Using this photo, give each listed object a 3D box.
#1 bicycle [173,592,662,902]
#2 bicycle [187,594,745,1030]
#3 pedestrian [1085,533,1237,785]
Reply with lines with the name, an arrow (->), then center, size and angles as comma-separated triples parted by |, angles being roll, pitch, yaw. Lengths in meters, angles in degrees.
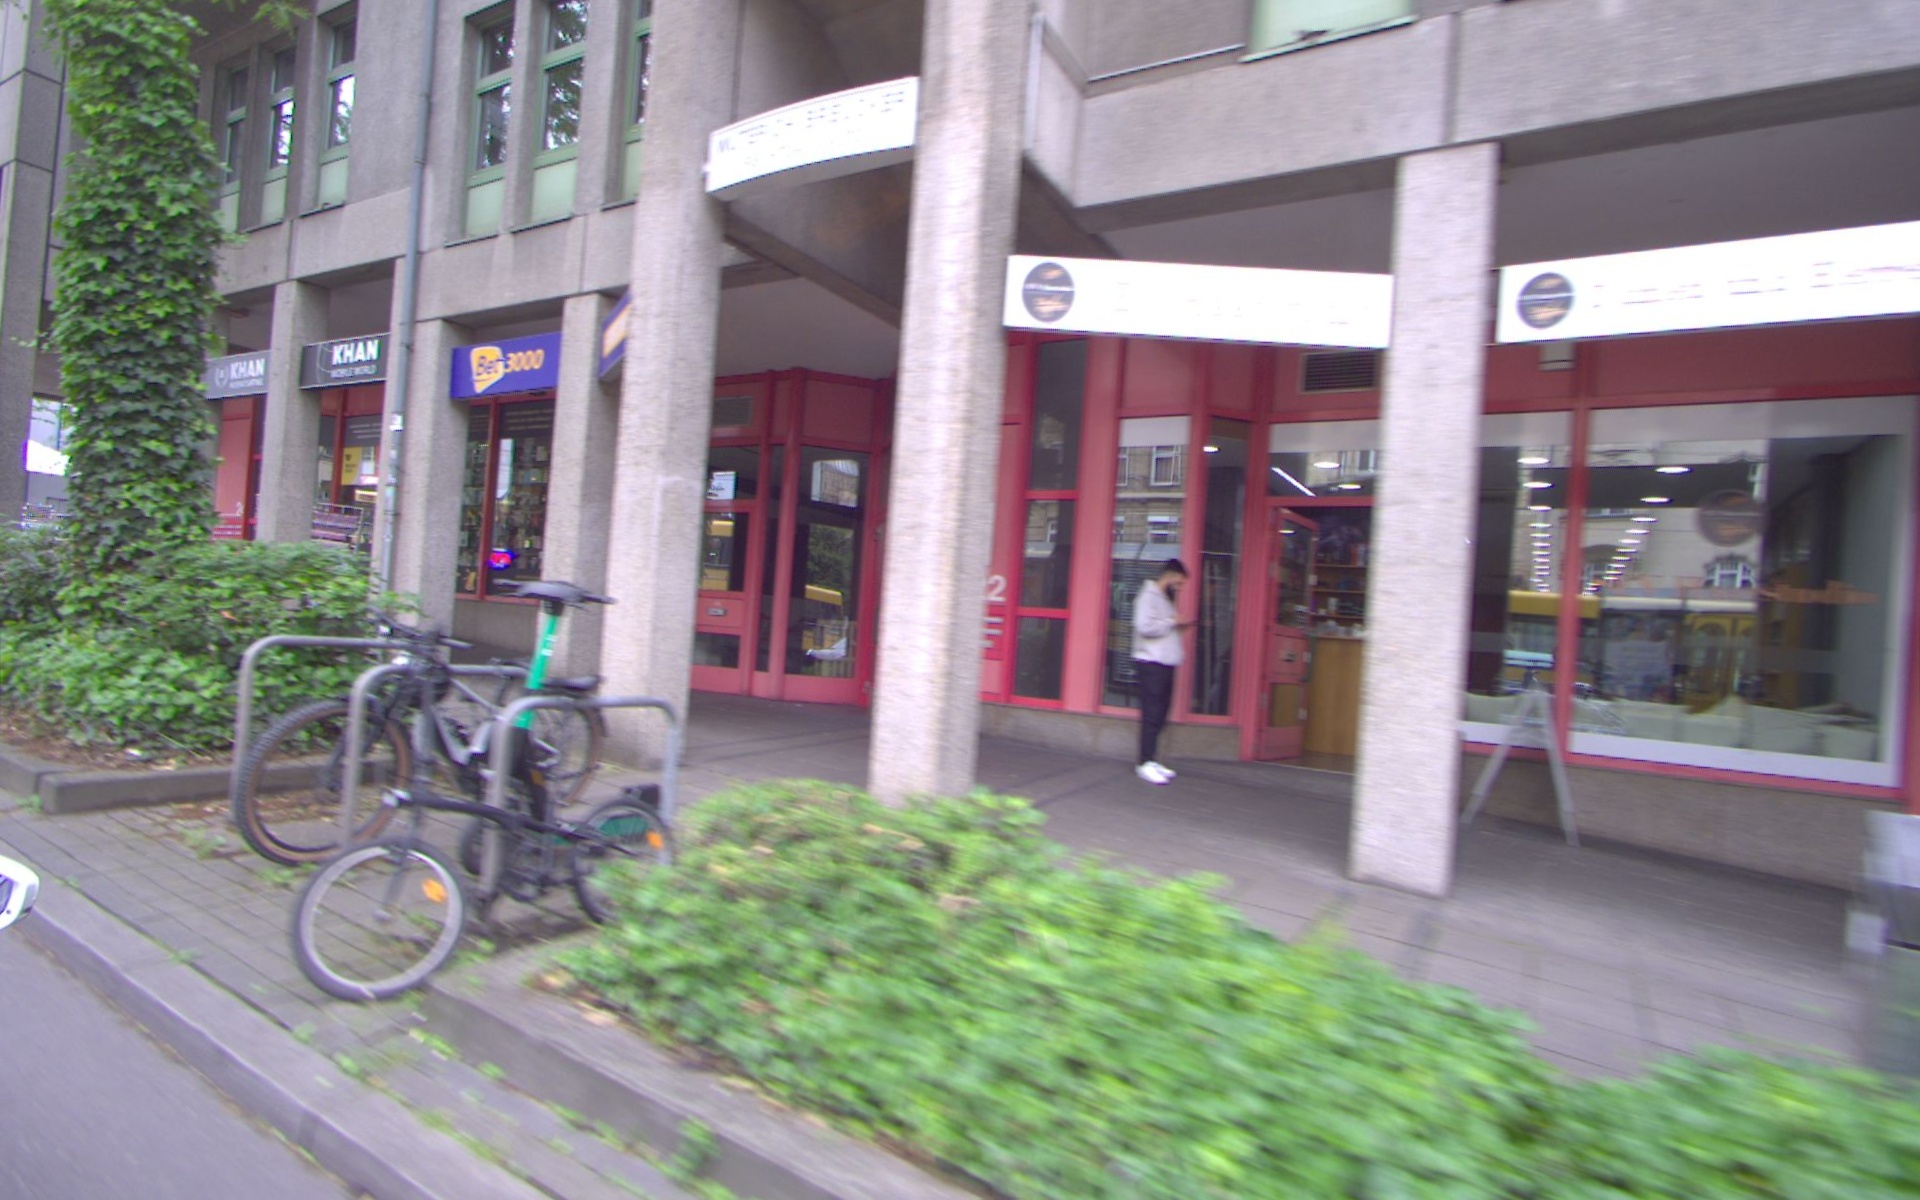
bicycle -> -2.348, 0.575, 4.660 | 0.603, 1.090, 1.918 | 6, 1, 29
bicycle -> -1.619, 0.615, 3.558 | 0.604, 1.142, 1.619 | 6, 1, 35
pedestrian -> 1.607, 0.449, 8.013 | 0.712, 1.827, 0.831 | 9, 4, 34
